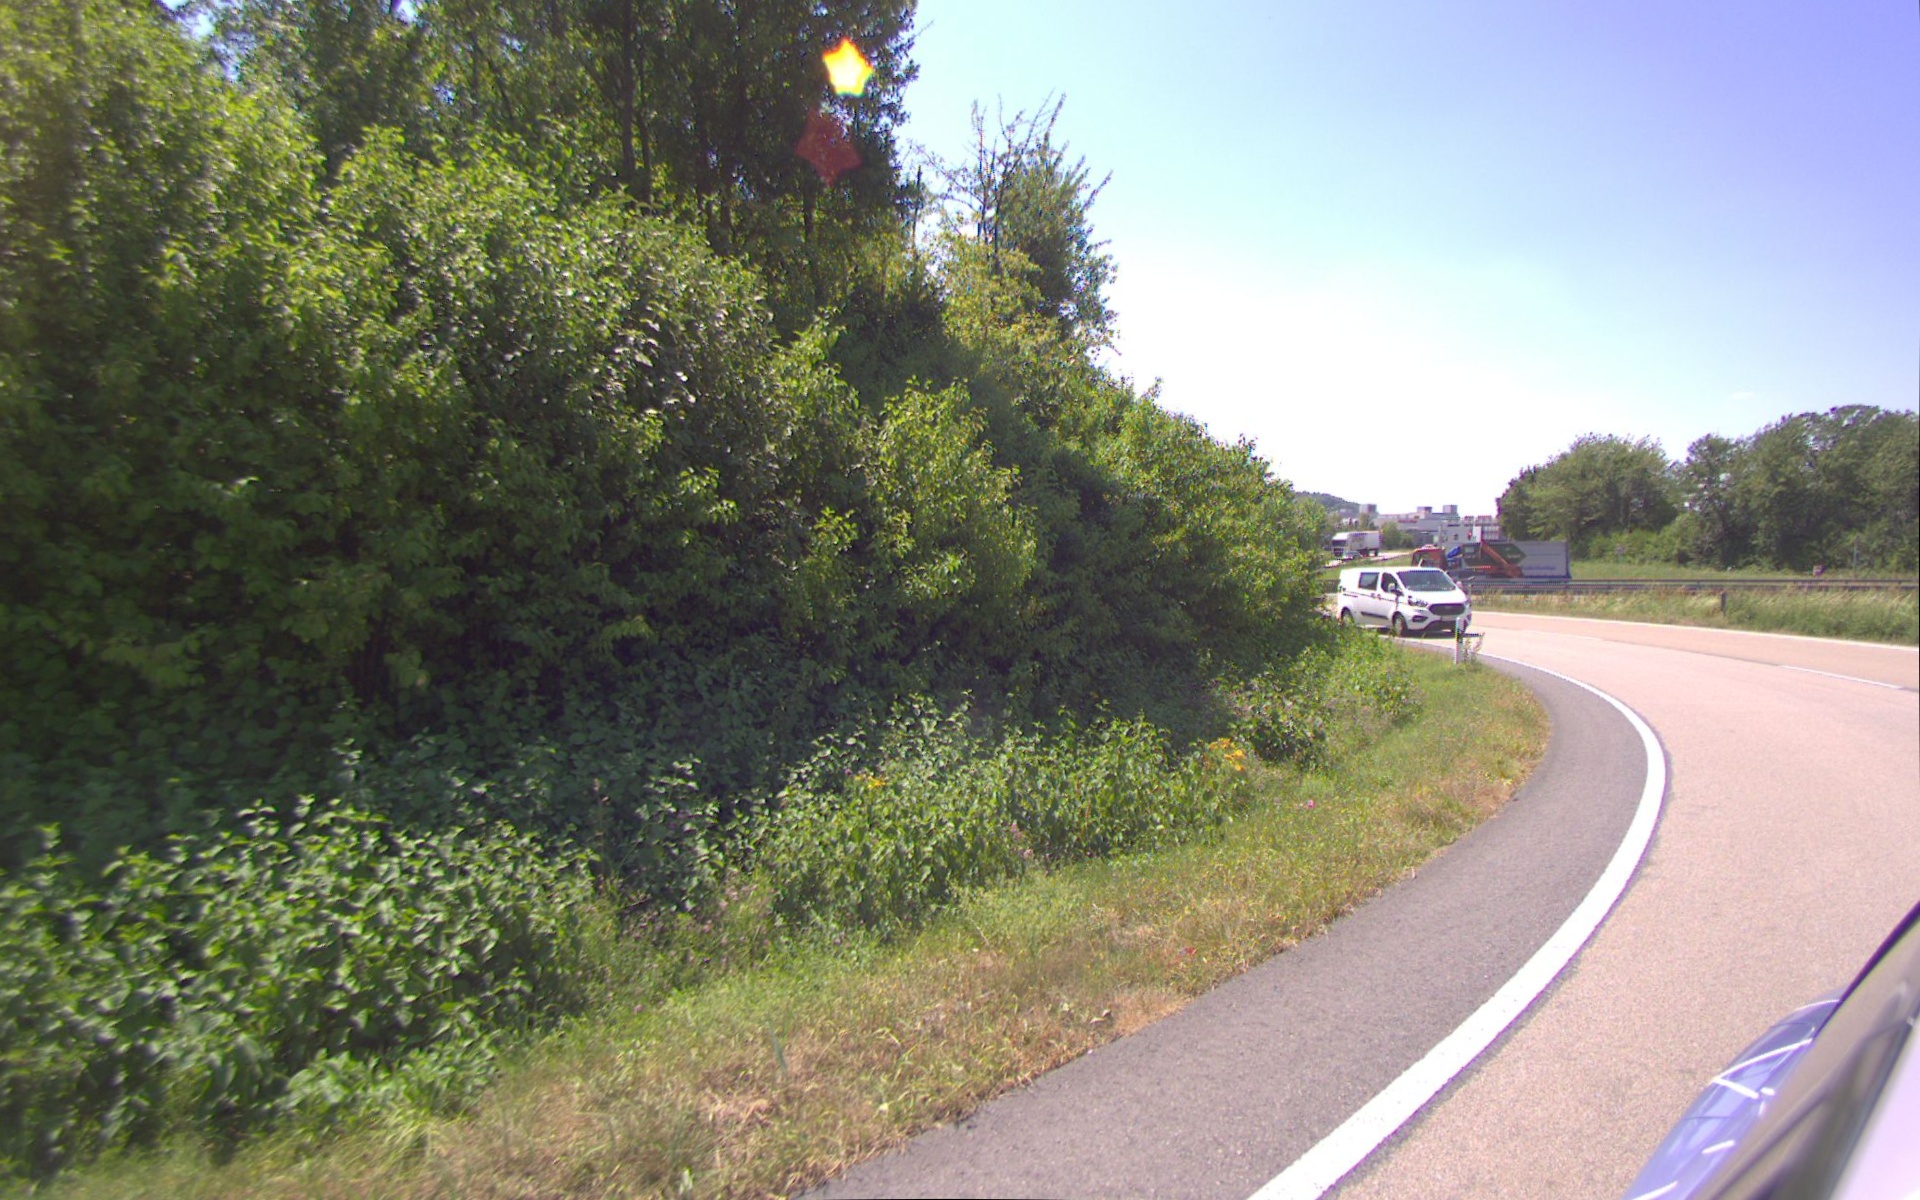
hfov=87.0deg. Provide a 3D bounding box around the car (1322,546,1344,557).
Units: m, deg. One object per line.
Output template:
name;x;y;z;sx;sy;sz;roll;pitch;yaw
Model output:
car;51.891;-6.787;140.807;1.594;1.450;3.516;0;1;42

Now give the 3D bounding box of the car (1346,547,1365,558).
car;57.432;-6.838;146.874;1.592;1.450;3.521;1;1;38

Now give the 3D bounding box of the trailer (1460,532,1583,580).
trailer;38.436;-2.944;69.357;7.174;3.046;2.277;0;1;35

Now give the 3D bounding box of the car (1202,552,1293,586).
car;22.936;-2.481;80.942;6.658;2.569;2.136;0;2;37

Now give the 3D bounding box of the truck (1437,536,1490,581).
truck;35.538;-2.931;71.444;3.057;3.047;2.287;0;1;35

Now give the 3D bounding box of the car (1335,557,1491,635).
car;13.572;-0.196;30.726;2.023;2.038;5.048;-4;2;-5

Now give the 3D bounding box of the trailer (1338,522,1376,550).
trailer;63.190;-10.180;160.983;2.807;4.209;12.104;0;3;35

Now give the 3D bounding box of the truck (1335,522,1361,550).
truck;59.847;-9.810;156.200;2.814;4.209;3.951;0;2;36

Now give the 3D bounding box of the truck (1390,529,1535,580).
truck;32.432;-2.878;65.463;8.148;3.100;2.572;1;2;34

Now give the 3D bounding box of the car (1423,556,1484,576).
car;30.223;-2.056;62.014;3.226;1.163;1.216;1;1;36
